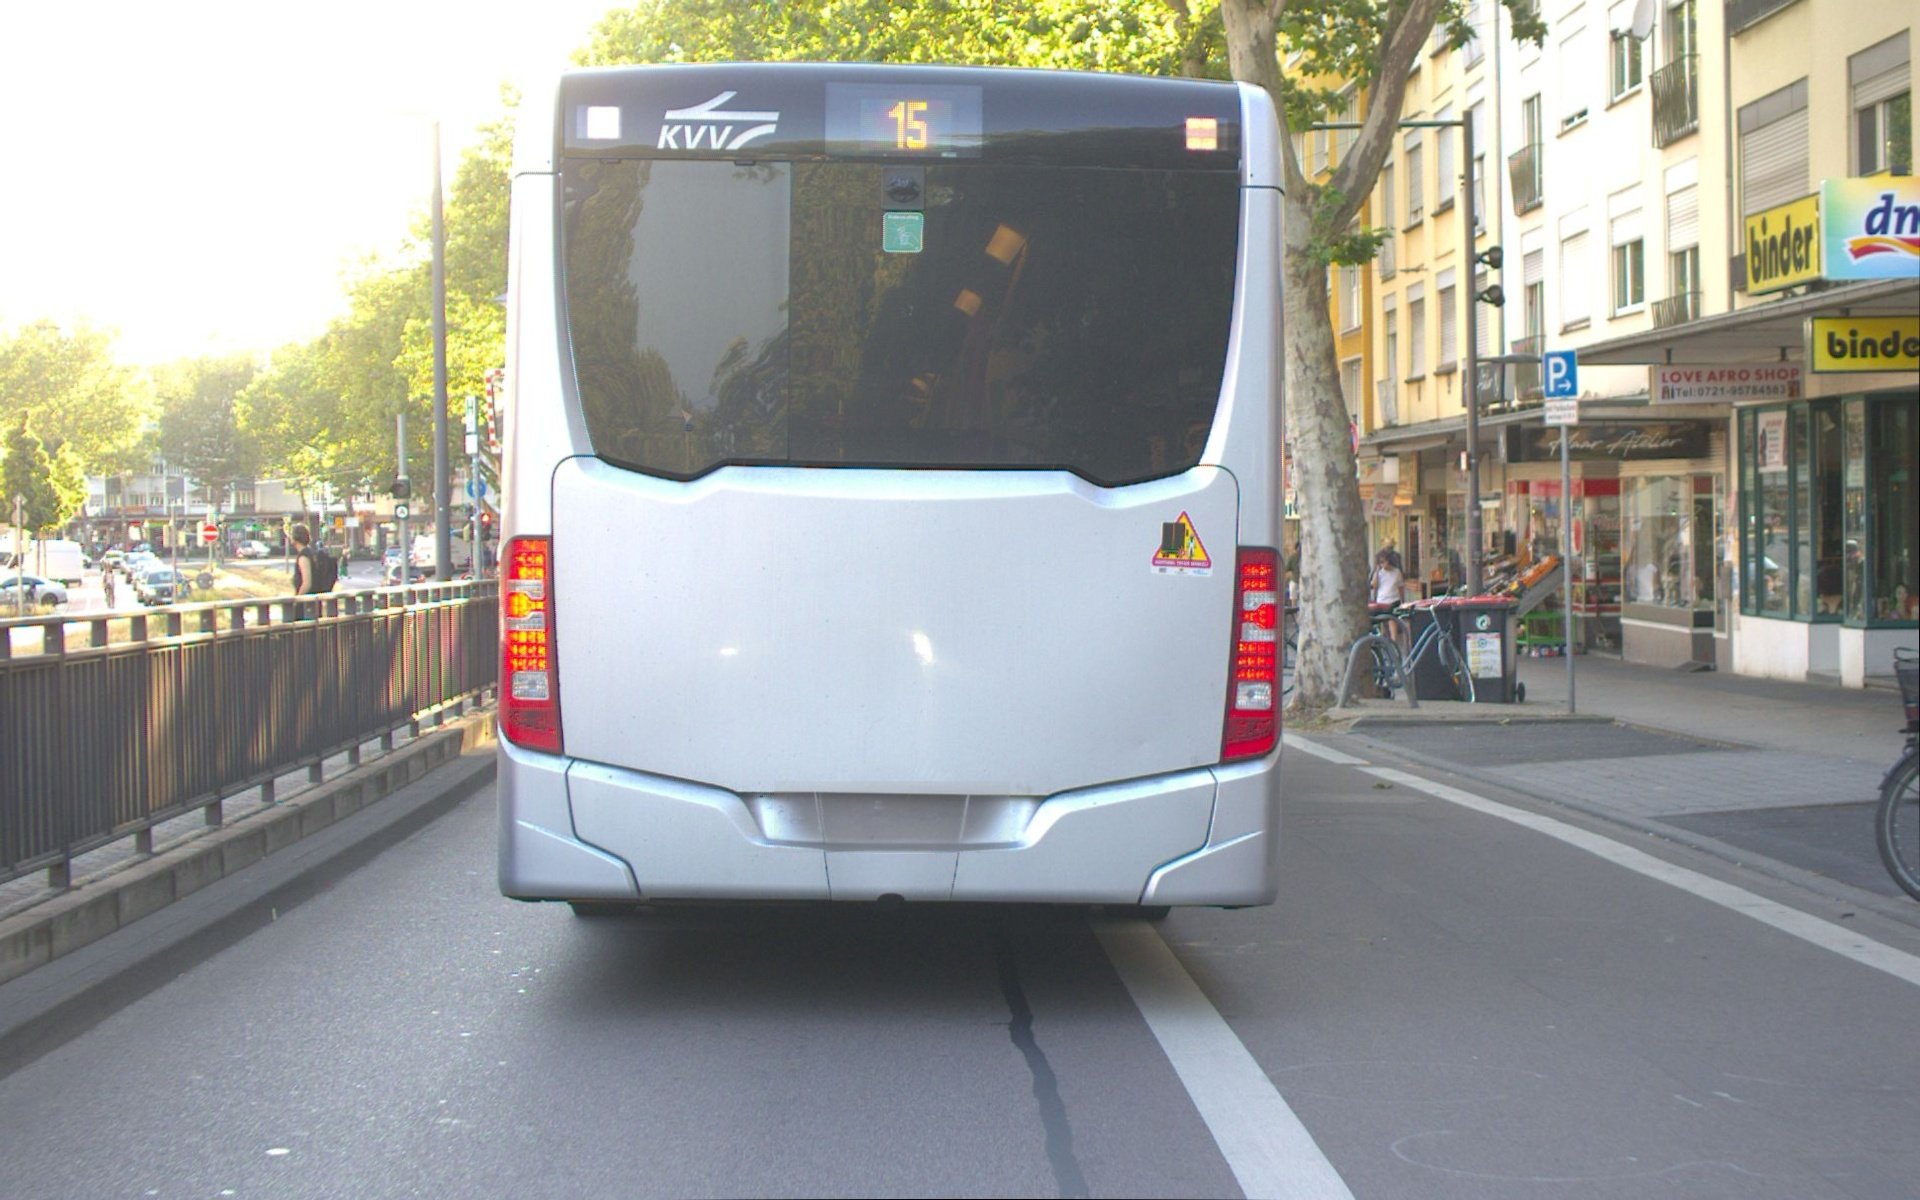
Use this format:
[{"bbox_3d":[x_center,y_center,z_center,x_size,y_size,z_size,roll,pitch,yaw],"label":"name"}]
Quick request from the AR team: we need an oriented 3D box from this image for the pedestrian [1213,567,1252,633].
[{"bbox_3d":[5.360,-0.006,67.685,0.583,1.270,0.759,1,0,-8],"label":"pedestrian"}]

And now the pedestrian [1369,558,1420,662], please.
[{"bbox_3d":[6.713,0.150,53.120,0.622,1.581,0.627,-3,1,-3],"label":"pedestrian"}]

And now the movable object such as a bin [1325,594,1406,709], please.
[{"bbox_3d":[4.097,0.514,34.779,0.722,1.098,0.644,-4,0,5],"label":"movable object such as a bin"}]

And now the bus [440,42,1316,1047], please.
[{"bbox_3d":[-0.454,-0.230,14.137,2.677,3.073,7.115,0,1,-3],"label":"bus"}]

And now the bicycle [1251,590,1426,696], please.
[{"bbox_3d":[4.291,0.483,39.012,1.907,1.101,0.518,-3,0,5],"label":"bicycle"}]

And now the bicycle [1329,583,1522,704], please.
[{"bbox_3d":[4.451,0.424,32.965,1.717,1.114,0.745,-1,-3,-1],"label":"bicycle"}]

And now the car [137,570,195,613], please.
[{"bbox_3d":[-30.084,-0.337,130.313,1.722,1.504,3.477,-3,1,-8],"label":"car"}]

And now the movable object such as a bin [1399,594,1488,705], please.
[{"bbox_3d":[4.914,0.498,34.956,0.722,1.068,0.644,-3,0,-3],"label":"movable object such as a bin"}]

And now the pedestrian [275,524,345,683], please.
[{"bbox_3d":[-7.617,0.033,40.281,0.741,1.842,0.590,-1,1,-7],"label":"pedestrian"}]

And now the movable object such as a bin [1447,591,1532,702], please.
[{"bbox_3d":[5.327,0.466,34.554,0.723,1.068,0.643,-2,0,17],"label":"movable object such as a bin"}]

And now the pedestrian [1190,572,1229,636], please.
[{"bbox_3d":[4.783,0.069,65.975,0.605,1.221,0.745,0,0,-8],"label":"pedestrian"}]

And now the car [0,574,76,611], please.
[{"bbox_3d":[-37.641,-0.293,136.439,4.540,1.407,1.999,-1,1,-45],"label":"car"}]

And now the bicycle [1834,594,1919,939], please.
[{"bbox_3d":[4.501,0.575,13.728,1.787,1.307,0.693,-7,0,11],"label":"bicycle"}]
